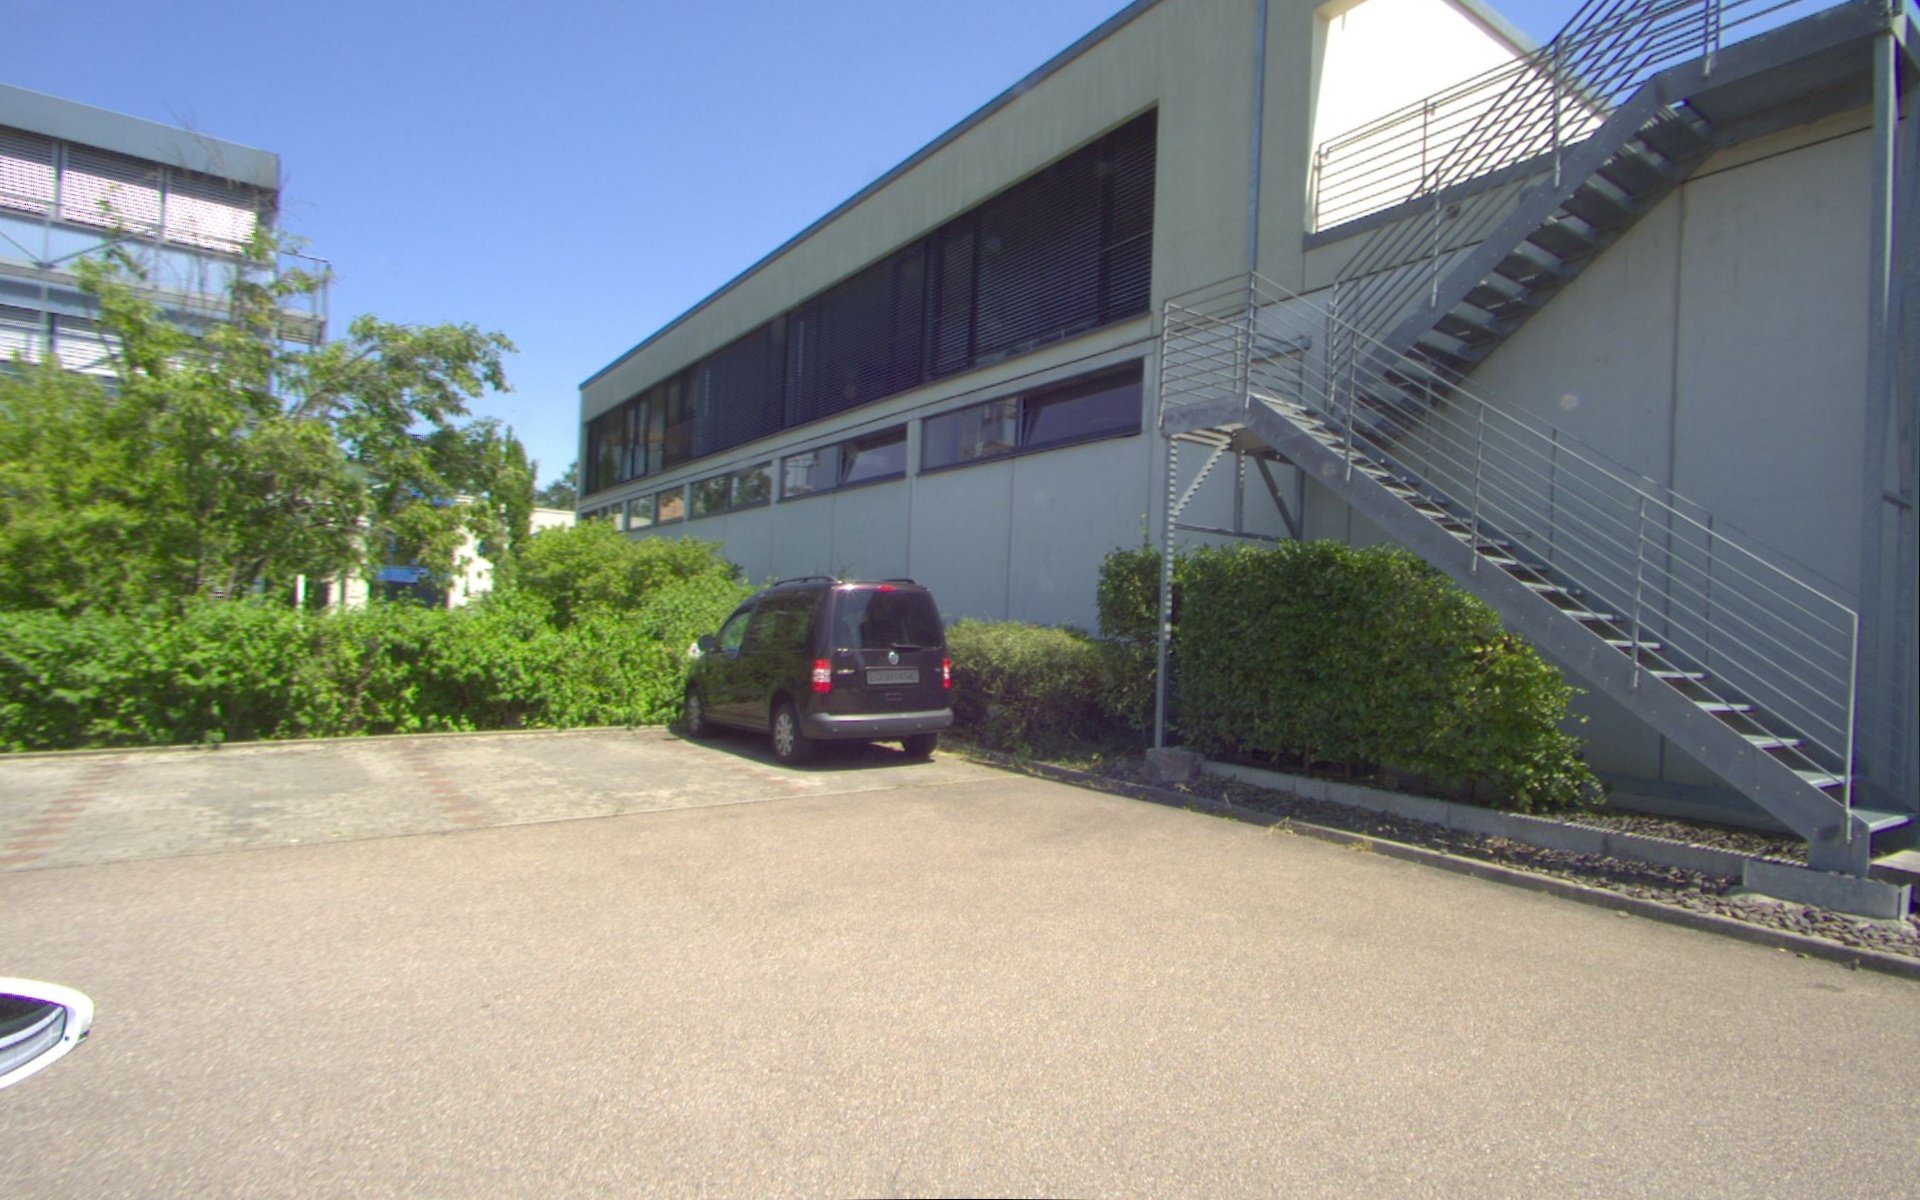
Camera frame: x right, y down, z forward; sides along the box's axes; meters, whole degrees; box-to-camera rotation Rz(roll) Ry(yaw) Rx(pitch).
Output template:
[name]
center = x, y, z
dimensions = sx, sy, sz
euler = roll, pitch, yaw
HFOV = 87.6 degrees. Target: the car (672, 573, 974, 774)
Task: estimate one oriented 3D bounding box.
[car]
center = -1.719, 0.703, 11.371
dimensions = 1.727, 1.861, 3.971
euler = 2, -1, -36
